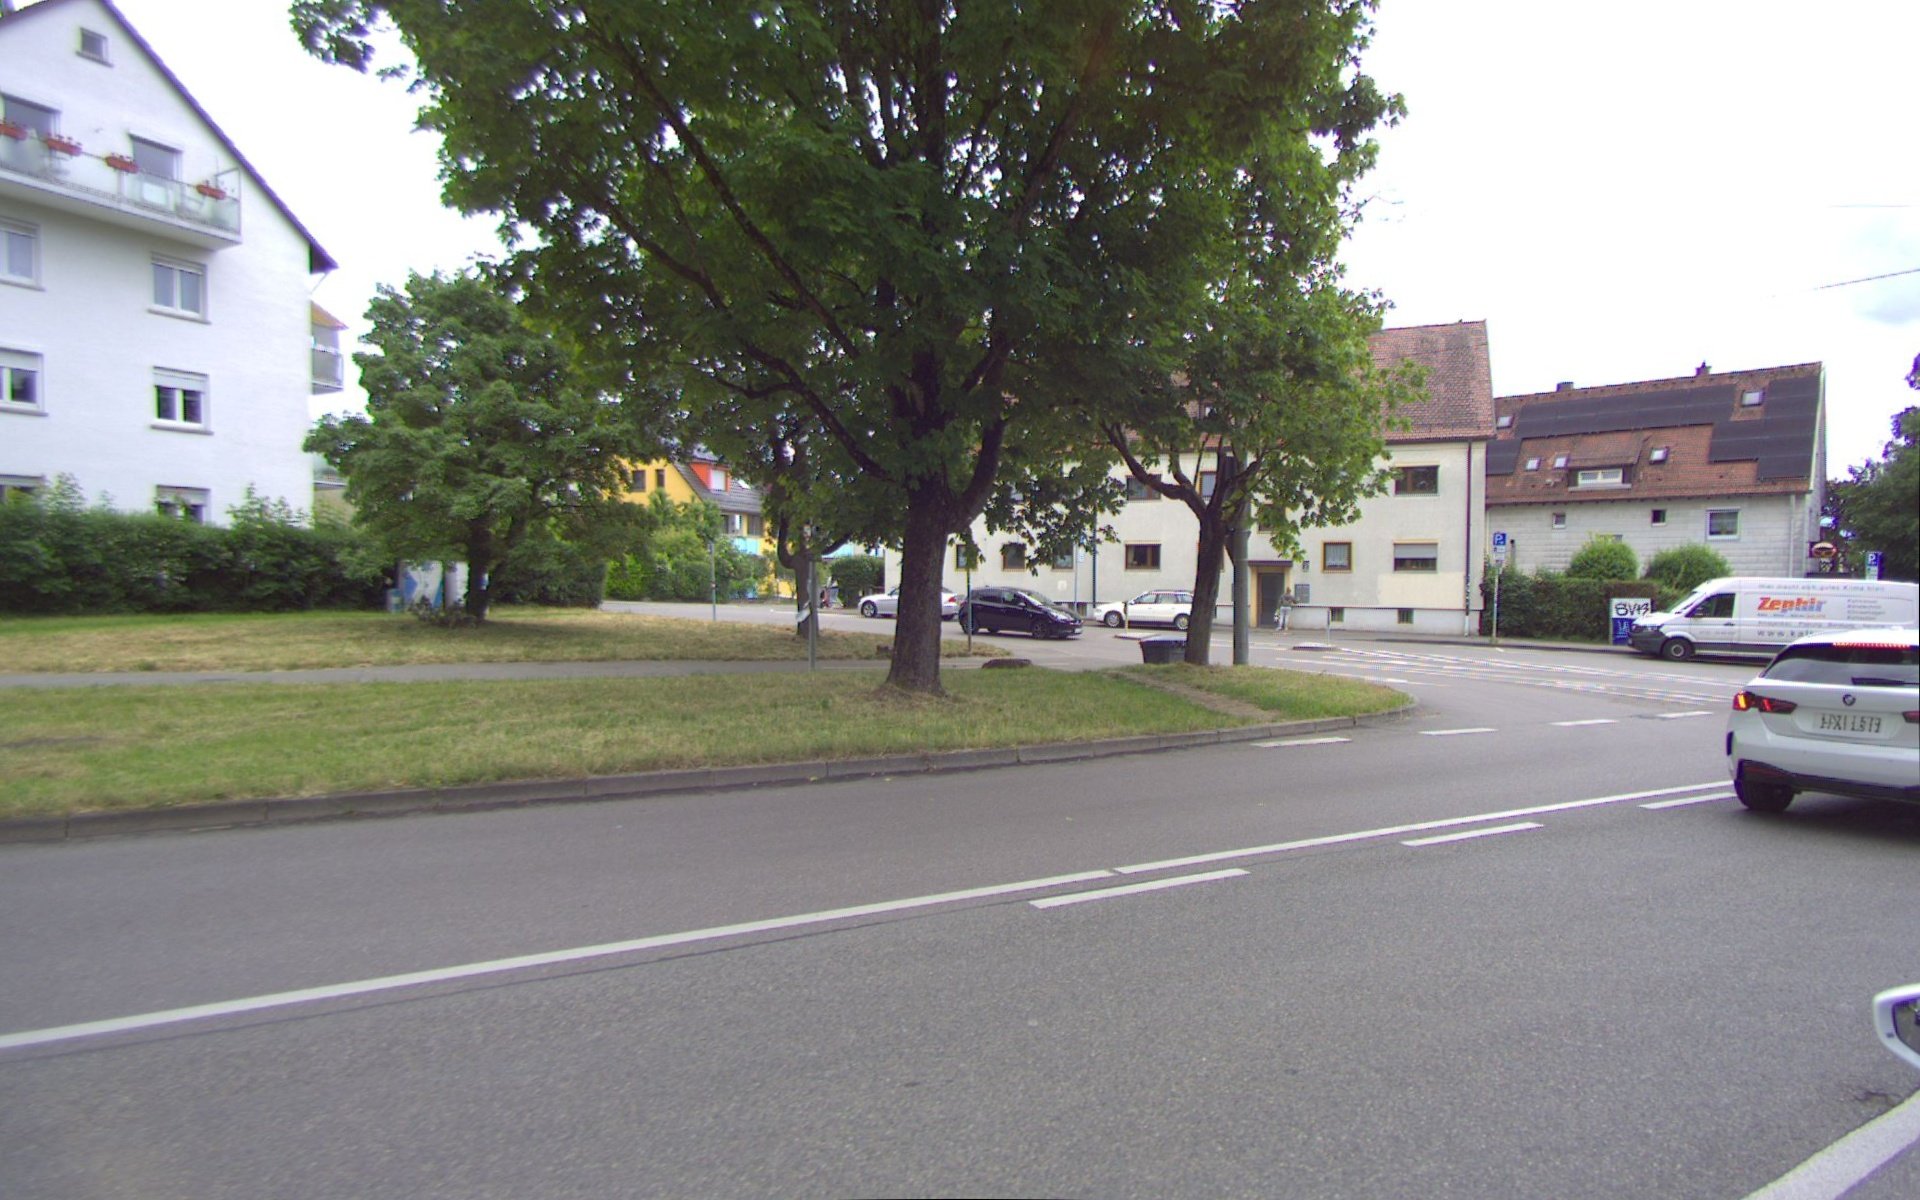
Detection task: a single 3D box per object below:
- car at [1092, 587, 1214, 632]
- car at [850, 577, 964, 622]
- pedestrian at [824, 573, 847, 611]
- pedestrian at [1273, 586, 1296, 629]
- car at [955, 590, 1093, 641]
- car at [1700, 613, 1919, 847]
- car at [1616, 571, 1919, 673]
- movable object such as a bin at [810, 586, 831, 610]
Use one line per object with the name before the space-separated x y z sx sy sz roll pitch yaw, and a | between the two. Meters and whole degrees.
car | 7.228 0.322 37.556 4.232 1.459 1.721 2 3 20
car | -2.098 -0.020 39.972 4.150 1.554 1.683 3 0 19
pedestrian | -5.595 -0.358 45.114 0.767 1.655 0.681 4 4 25
pedestrian | 12.370 0.285 38.250 0.735 1.555 0.716 3 4 20
car | 1.949 0.437 30.886 3.928 1.355 1.641 2 3 30
car | 7.923 0.905 8.022 4.158 1.537 1.787 1 -1 -31
car | 23.497 0.541 29.374 6.846 2.556 2.083 2 3 22
movable object such as a bin | -6.327 -0.083 45.511 0.862 1.010 0.403 4 4 25
